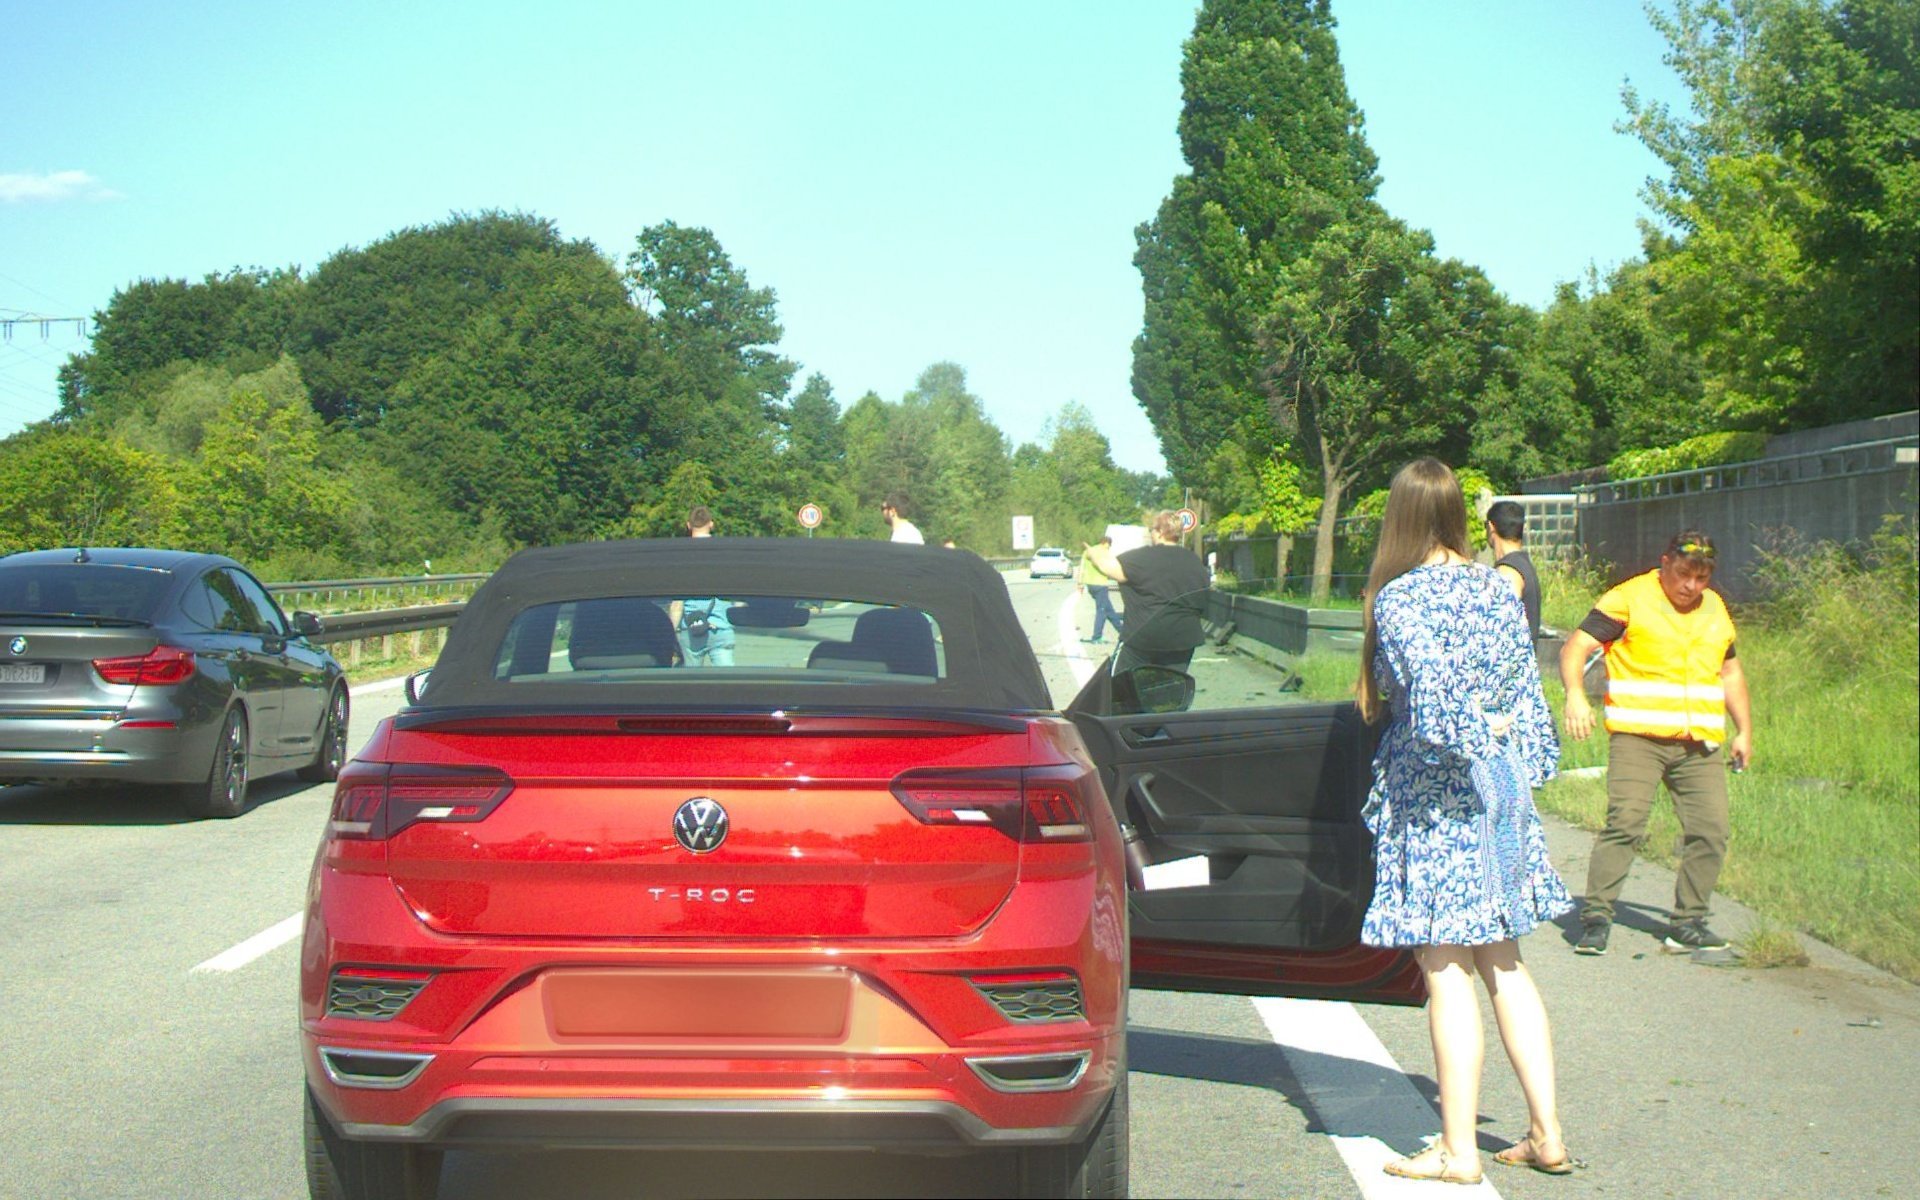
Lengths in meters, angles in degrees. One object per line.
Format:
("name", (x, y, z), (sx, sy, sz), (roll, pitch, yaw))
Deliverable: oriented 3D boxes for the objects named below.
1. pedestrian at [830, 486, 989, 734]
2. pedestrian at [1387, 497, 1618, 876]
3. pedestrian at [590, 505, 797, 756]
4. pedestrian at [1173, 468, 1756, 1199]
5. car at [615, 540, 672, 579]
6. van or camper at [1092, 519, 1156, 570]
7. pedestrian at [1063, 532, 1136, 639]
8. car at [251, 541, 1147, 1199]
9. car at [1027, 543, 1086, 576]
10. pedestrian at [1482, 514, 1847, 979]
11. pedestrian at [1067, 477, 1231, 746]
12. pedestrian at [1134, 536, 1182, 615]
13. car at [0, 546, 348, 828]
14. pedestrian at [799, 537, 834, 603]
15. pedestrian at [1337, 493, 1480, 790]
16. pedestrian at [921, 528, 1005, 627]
("pedestrian", (-0.414, 0.068, 27.285), (1.105, 1.906, 1.257), (-1, 1, -7))
("pedestrian", (2.553, 0.387, 16.149), (0.896, 1.719, 0.753), (1, 0, 23))
("pedestrian", (-1.948, 0.210, 25.254), (1.105, 1.782, 1.090), (1, 0, 24))
("pedestrian", (1.160, 0.550, 8.097), (0.889, 1.689, 1.129), (-1, 1, -22))
("car", (-12.002, -1.548, 130.600), (1.712, 1.420, 4.407), (1, 1, 0))
("van or camper", (7.702, -2.591, 160.869), (1.995, 2.308, 4.467), (1, 1, 16))
("pedestrian", (2.238, -0.232, 55.093), (1.056, 1.683, 1.017), (1, 0, 7))
("car", (-0.501, 0.601, 8.801), (1.732, 1.482, 4.210), (1, 1, 0))
("car", (4.571, -1.916, 161.977), (1.734, 1.482, 4.207), (1, 1, 17))
("pedestrian", (2.632, 0.512, 12.991), (0.957, 1.648, 1.278), (-1, 1, -8))
("pedestrian", (1.341, 0.071, 24.615), (1.090, 1.876, 1.069), (-1, 1, -1))
("pedestrian", (4.281, -0.527, 74.233), (0.996, 1.683, 1.010), (1, 0, 4))
("car", (-4.780, 0.414, 19.842), (1.694, 1.421, 4.334), (1, 1, 0))
("pedestrian", (-3.689, -0.781, 88.478), (0.792, 1.683, 0.792), (1, 0, 6))
("pedestrian", (2.728, 0.243, 20.875), (0.812, 1.753, 0.828), (1, 0, 9))
("pedestrian", (0.047, -0.395, 59.646), (1.113, 1.683, 0.973), (1, 0, -26))
